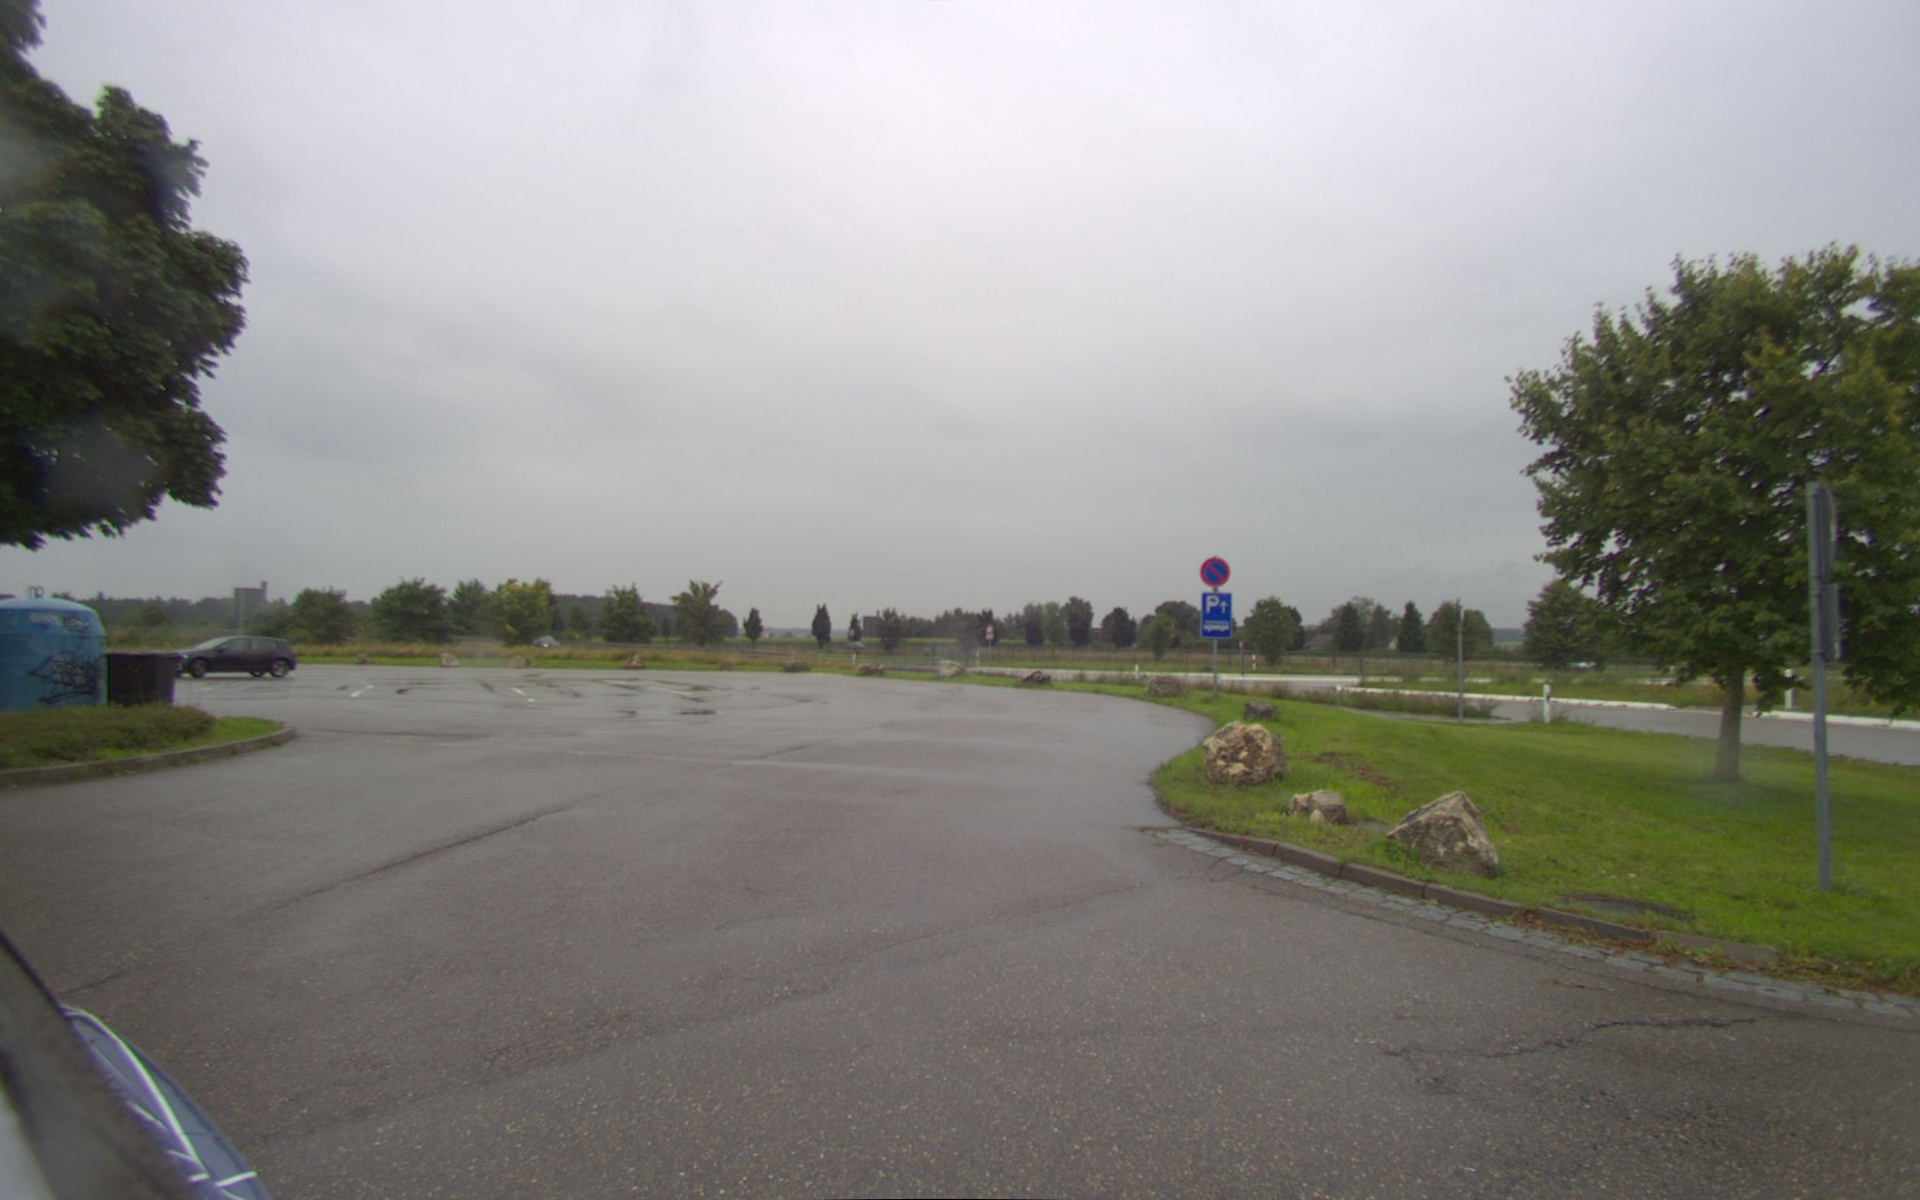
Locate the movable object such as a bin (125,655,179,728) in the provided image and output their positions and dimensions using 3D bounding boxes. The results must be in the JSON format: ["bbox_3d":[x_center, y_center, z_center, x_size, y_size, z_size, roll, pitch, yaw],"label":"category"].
[{"bbox_3d":[-10.882,1.220,13.633,0.488,0.946,0.444,-2,-4,39],"label":"movable object such as a bin"}]

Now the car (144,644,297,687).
[{"bbox_3d":[-26.333,2.320,36.189,1.772,1.444,4.036,-1,-4,30],"label":"car"}]

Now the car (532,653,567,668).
[{"bbox_3d":[-40.556,5.936,99.937,3.751,1.464,1.566,-2,-4,38],"label":"car"}]

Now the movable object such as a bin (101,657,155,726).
[{"bbox_3d":[-11.389,1.241,13.851,0.488,0.924,0.444,-2,-4,39],"label":"movable object such as a bin"}]
